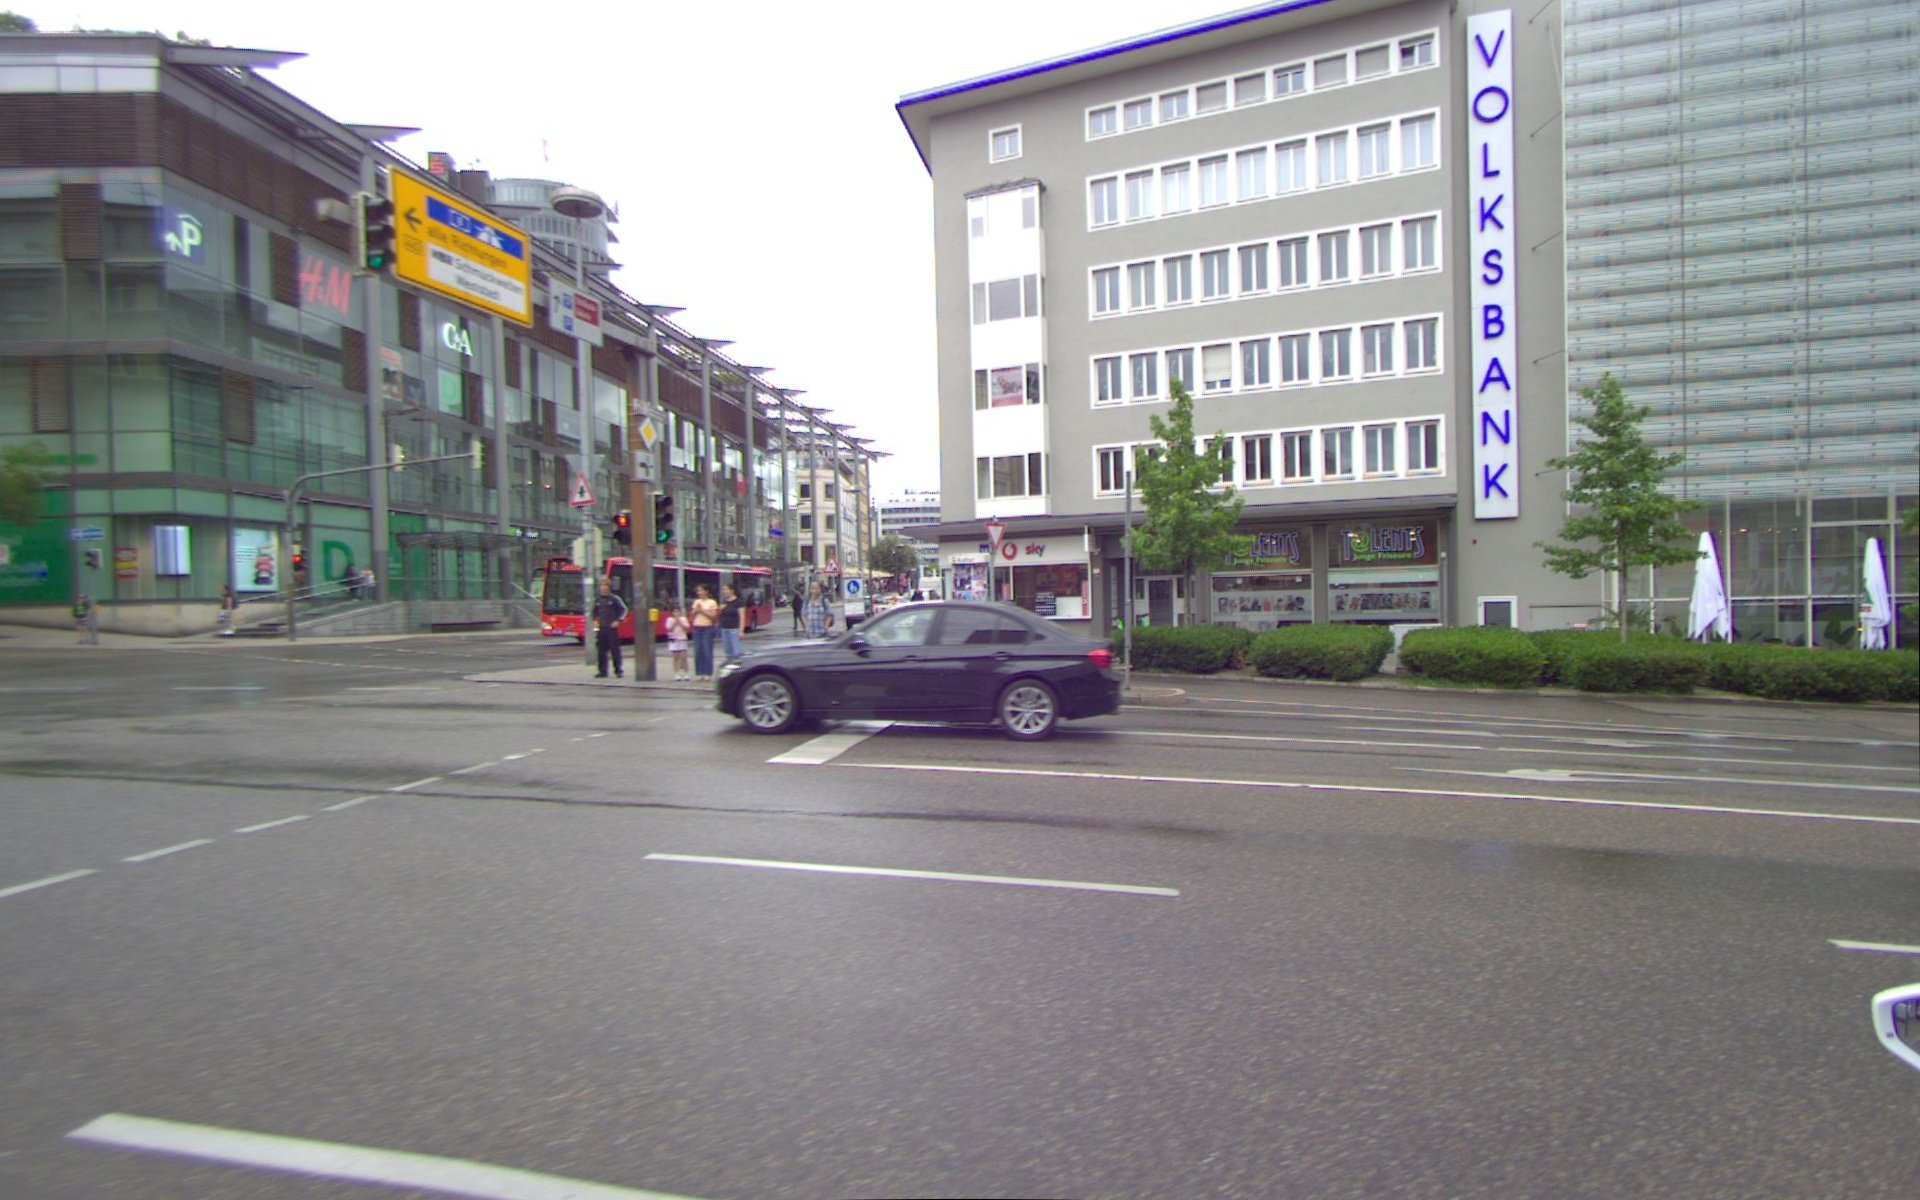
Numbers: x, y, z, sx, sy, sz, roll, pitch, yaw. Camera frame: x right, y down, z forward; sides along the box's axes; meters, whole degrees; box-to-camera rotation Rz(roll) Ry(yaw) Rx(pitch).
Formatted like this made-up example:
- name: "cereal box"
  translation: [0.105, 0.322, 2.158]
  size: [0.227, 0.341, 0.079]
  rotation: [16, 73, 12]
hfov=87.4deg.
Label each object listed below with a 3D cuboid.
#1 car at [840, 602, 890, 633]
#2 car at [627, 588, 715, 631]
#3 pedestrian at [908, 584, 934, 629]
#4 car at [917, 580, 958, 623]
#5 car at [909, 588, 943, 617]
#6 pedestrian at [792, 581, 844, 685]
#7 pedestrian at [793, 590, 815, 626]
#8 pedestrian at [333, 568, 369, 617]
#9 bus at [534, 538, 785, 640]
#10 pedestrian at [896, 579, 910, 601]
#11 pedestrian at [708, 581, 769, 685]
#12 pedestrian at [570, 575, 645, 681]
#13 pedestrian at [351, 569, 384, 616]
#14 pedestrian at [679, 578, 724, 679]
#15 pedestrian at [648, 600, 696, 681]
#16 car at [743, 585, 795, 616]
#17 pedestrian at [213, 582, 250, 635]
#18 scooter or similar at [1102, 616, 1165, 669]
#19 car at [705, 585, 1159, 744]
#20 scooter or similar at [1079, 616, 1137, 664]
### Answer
- name: "car"
  translation: [-4.965, 0.921, 53.046]
  size: [1.707, 1.547, 4.002]
  rotation: [1, 0, 8]
- name: "car"
  translation: [-15.044, 0.490, 52.689]
  size: [2.403, 2.103, 5.911]
  rotation: [1, 0, 6]
- name: "pedestrian"
  translation: [-1.595, 0.269, 41.389]
  size: [1.005, 1.799, 0.800]
  rotation: [1, 0, 1]
- name: "car"
  translation: [-1.606, 0.123, 74.738]
  size: [2.403, 2.997, 6.156]
  rotation: [1, 0, 5]
- name: "car"
  translation: [-2.288, 0.163, 68.208]
  size: [1.829, 1.850, 4.105]
  rotation: [1, 0, 4]
- name: "pedestrian"
  translation: [-2.538, 0.585, 18.011]
  size: [0.816, 1.802, 0.617]
  rotation: [1, 0, 1]
- name: "pedestrian"
  translation: [-7.976, 0.404, 51.414]
  size: [0.890, 1.827, 0.626]
  rotation: [1, -1, 34]
- name: "pedestrian"
  translation: [-25.532, -0.315, 42.132]
  size: [0.866, 2.007, 0.975]
  rotation: [0, 0, 6]
- name: "bus"
  translation: [-11.549, -0.238, 42.358]
  size: [2.870, 3.365, 18.490]
  rotation: [0, -1, 7]
- name: "pedestrian"
  translation: [-4.938, -0.843, 87.257]
  size: [0.938, 1.912, 0.810]
  rotation: [1, 0, 14]
- name: "pedestrian"
  translation: [-3.752, 0.543, 17.011]
  size: [0.768, 1.712, 0.639]
  rotation: [1, 0, 16]
- name: "pedestrian"
  translation: [-6.228, 0.484, 17.789]
  size: [0.993, 1.811, 0.853]
  rotation: [1, 0, 1]
- name: "pedestrian"
  translation: [-25.391, -0.319, 43.086]
  size: [0.860, 2.007, 0.850]
  rotation: [0, 0, 6]
- name: "pedestrian"
  translation: [-4.398, 0.482, 17.115]
  size: [0.559, 1.691, 0.502]
  rotation: [0, 0, 14]
- name: "pedestrian"
  translation: [-4.942, 0.689, 17.238]
  size: [0.619, 1.357, 0.588]
  rotation: [1, 0, 1]
- name: "car"
  translation: [-13.127, 0.052, 69.241]
  size: [2.204, 2.061, 5.359]
  rotation: [1, 0, 4]
- name: "pedestrian"
  translation: [-24.994, 0.306, 34.464]
  size: [1.039, 1.785, 0.688]
  rotation: [0, -1, -37]
- name: "scooter or similar"
  translation: [4.674, 1.128, 27.033]
  size: [1.474, 1.274, 0.929]
  rotation: [0, 5, 27]
- name: "car"
  translation: [-0.210, 0.629, 10.981]
  size: [4.539, 1.444, 2.001]
  rotation: [1, 0, 8]
- name: "scooter or similar"
  translation: [3.766, 1.013, 25.623]
  size: [1.358, 1.203, 0.543]
  rotation: [-1, -1, 27]
